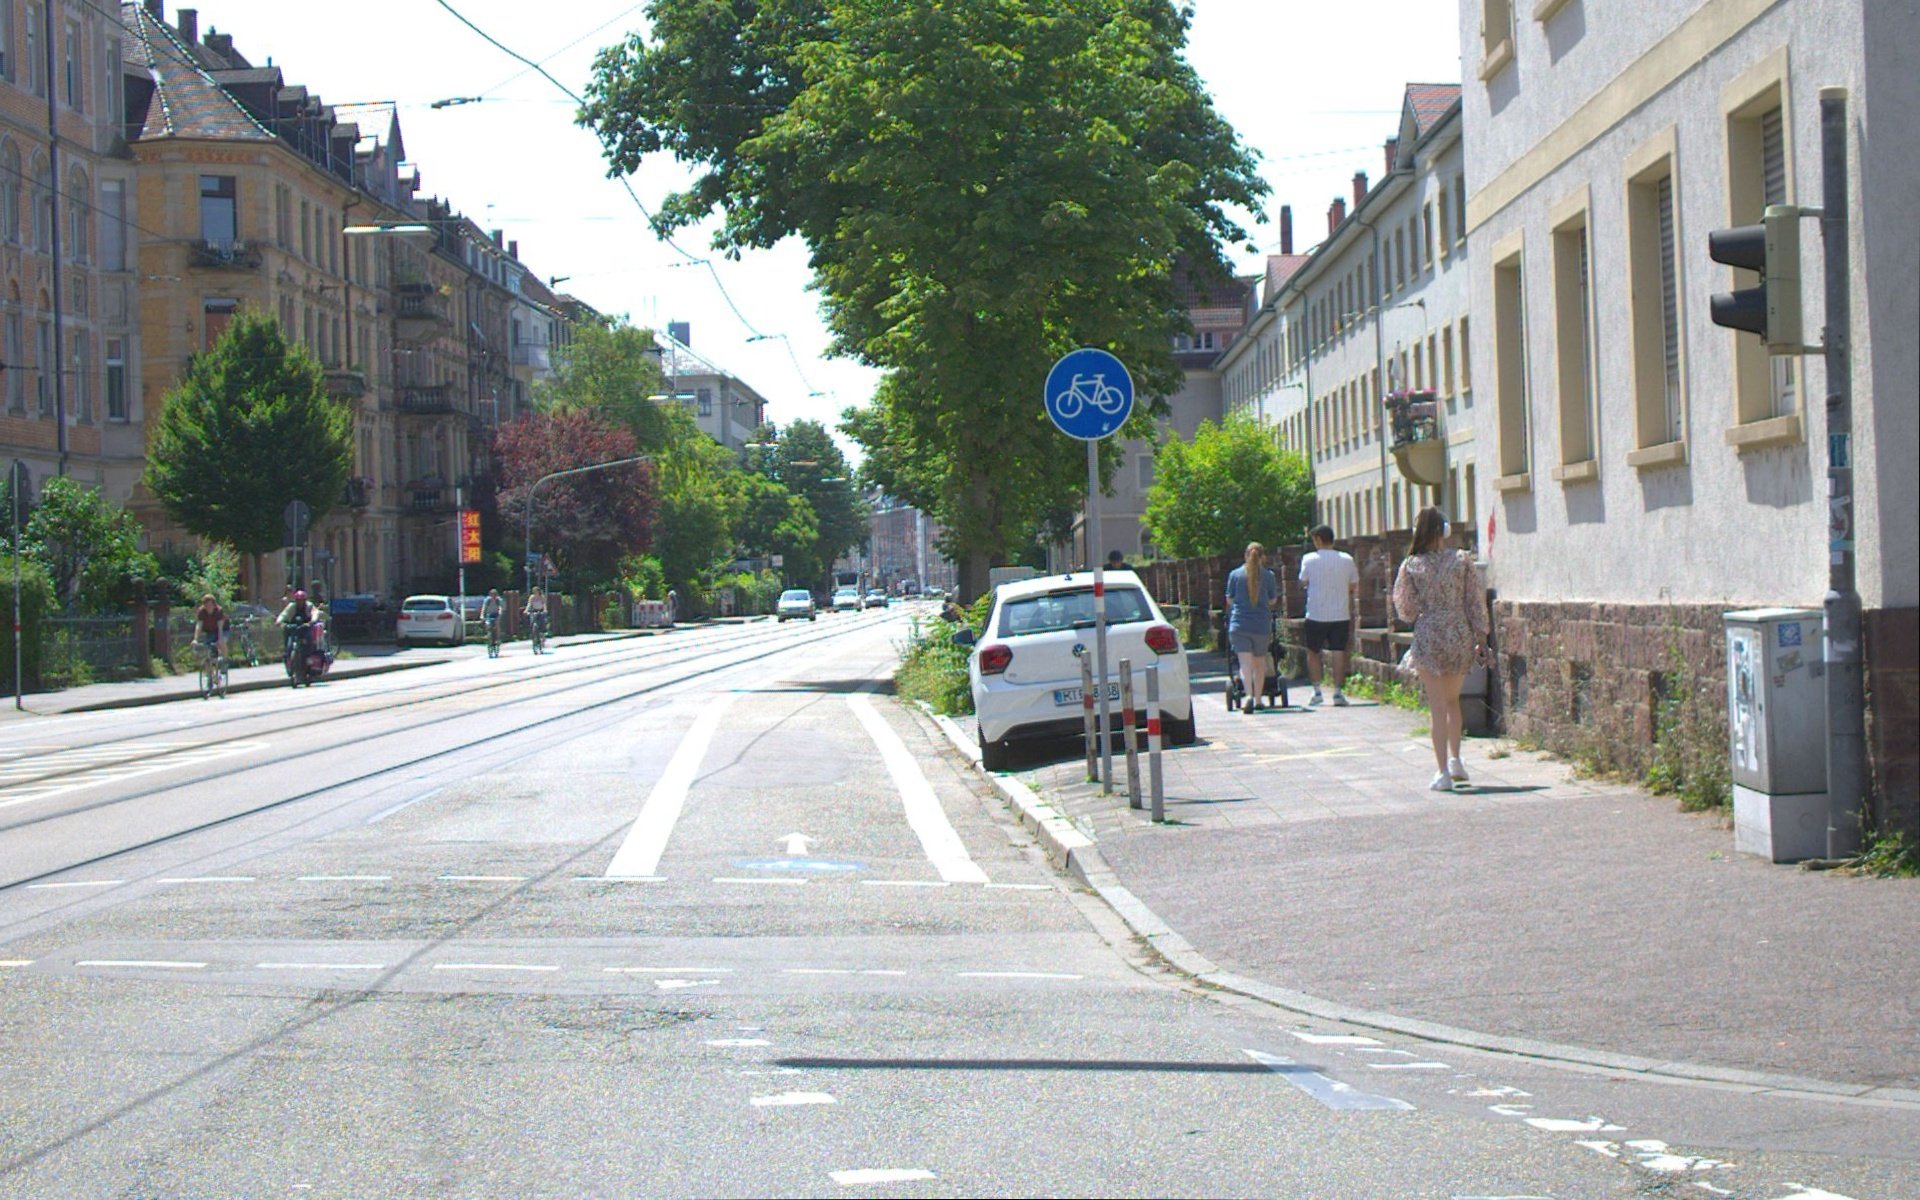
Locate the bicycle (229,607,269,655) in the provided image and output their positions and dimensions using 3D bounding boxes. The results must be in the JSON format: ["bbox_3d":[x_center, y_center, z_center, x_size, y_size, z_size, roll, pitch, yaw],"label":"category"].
[{"bbox_3d":[-15.222,0.655,73.636,0.496,0.984,1.711,2,0,-1],"label":"bicycle"}]

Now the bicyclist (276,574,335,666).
[{"bbox_3d":[-11.826,0.351,62.125,0.807,1.624,0.980,-2,0,1],"label":"bicyclist"}]

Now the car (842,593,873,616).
[{"bbox_3d":[-6.638,0.283,222.204,1.756,1.419,4.000,-2,0,1],"label":"car"}]

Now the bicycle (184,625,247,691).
[{"bbox_3d":[-12.307,0.951,56.866,0.567,1.034,1.829,-2,0,1],"label":"bicycle"}]

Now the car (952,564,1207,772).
[{"bbox_3d":[0.909,0.505,28.335,1.777,1.405,4.156,-6,0,0],"label":"car"}]

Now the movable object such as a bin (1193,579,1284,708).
[{"bbox_3d":[2.701,0.416,33.427,0.697,1.182,1.036,-5,0,0],"label":"movable object such as a bin"}]

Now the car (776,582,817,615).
[{"bbox_3d":[-7.751,-0.082,162.941,1.684,1.444,4.000,-2,1,0],"label":"car"}]

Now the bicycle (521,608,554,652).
[{"bbox_3d":[-10.977,0.772,89.345,0.581,1.074,1.890,-3,0,0],"label":"bicycle"}]

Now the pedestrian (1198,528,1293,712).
[{"bbox_3d":[2.689,0.183,32.474,0.697,1.664,0.869,-5,0,0],"label":"pedestrian"}]

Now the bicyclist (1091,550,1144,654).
[{"bbox_3d":[2.257,0.021,49.297,0.711,1.447,1.010,-2,0,3],"label":"bicyclist"}]

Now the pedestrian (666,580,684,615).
[{"bbox_3d":[-13.280,-0.120,160.217,0.750,1.623,0.833,-1,0,-2],"label":"pedestrian"}]

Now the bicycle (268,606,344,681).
[{"bbox_3d":[-11.807,0.768,62.133,0.807,1.267,2.550,-2,0,1],"label":"bicycle"}]

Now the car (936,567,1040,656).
[{"bbox_3d":[0.475,0.189,62.170,1.656,1.510,4.000,-2,1,-2],"label":"car"}]

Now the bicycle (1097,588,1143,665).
[{"bbox_3d":[2.292,0.367,49.212,0.602,1.047,1.822,-2,0,3],"label":"bicycle"}]

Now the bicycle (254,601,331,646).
[{"bbox_3d":[-15.952,0.561,82.200,1.705,1.033,0.551,-2,0,5],"label":"bicycle"}]

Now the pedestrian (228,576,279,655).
[{"bbox_3d":[-15.536,0.341,75.591,0.851,1.717,1.138,1,0,1],"label":"pedestrian"}]

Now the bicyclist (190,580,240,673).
[{"bbox_3d":[-12.319,0.433,56.852,0.562,1.510,0.892,-2,0,1],"label":"bicyclist"}]

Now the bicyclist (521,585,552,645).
[{"bbox_3d":[-11.000,0.387,89.359,0.592,1.539,0.952,-3,0,0],"label":"bicyclist"}]

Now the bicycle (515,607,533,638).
[{"bbox_3d":[-14.699,0.759,115.924,0.454,1.000,1.807,-2,0,-3],"label":"bicycle"}]

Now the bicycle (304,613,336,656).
[{"bbox_3d":[-15.047,0.808,80.821,0.438,0.980,1.711,-2,0,-1],"label":"bicycle"}]

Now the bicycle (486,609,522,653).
[{"bbox_3d":[-11.836,0.809,89.329,0.629,1.074,1.875,-3,0,0],"label":"bicycle"}]

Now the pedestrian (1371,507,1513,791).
[{"bbox_3d":[2.907,0.289,20.778,0.697,1.664,0.756,-2,0,-1],"label":"pedestrian"}]

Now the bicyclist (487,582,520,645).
[{"bbox_3d":[-11.862,0.347,89.369,0.634,1.579,1.028,-3,0,0],"label":"bicyclist"}]

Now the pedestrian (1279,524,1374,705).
[{"bbox_3d":[3.497,0.133,32.844,0.697,1.664,0.756,-5,0,0],"label":"pedestrian"}]

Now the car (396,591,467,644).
[{"bbox_3d":[-16.417,0.534,106.893,1.865,1.594,4.102,-1,0,-4],"label":"car"}]
